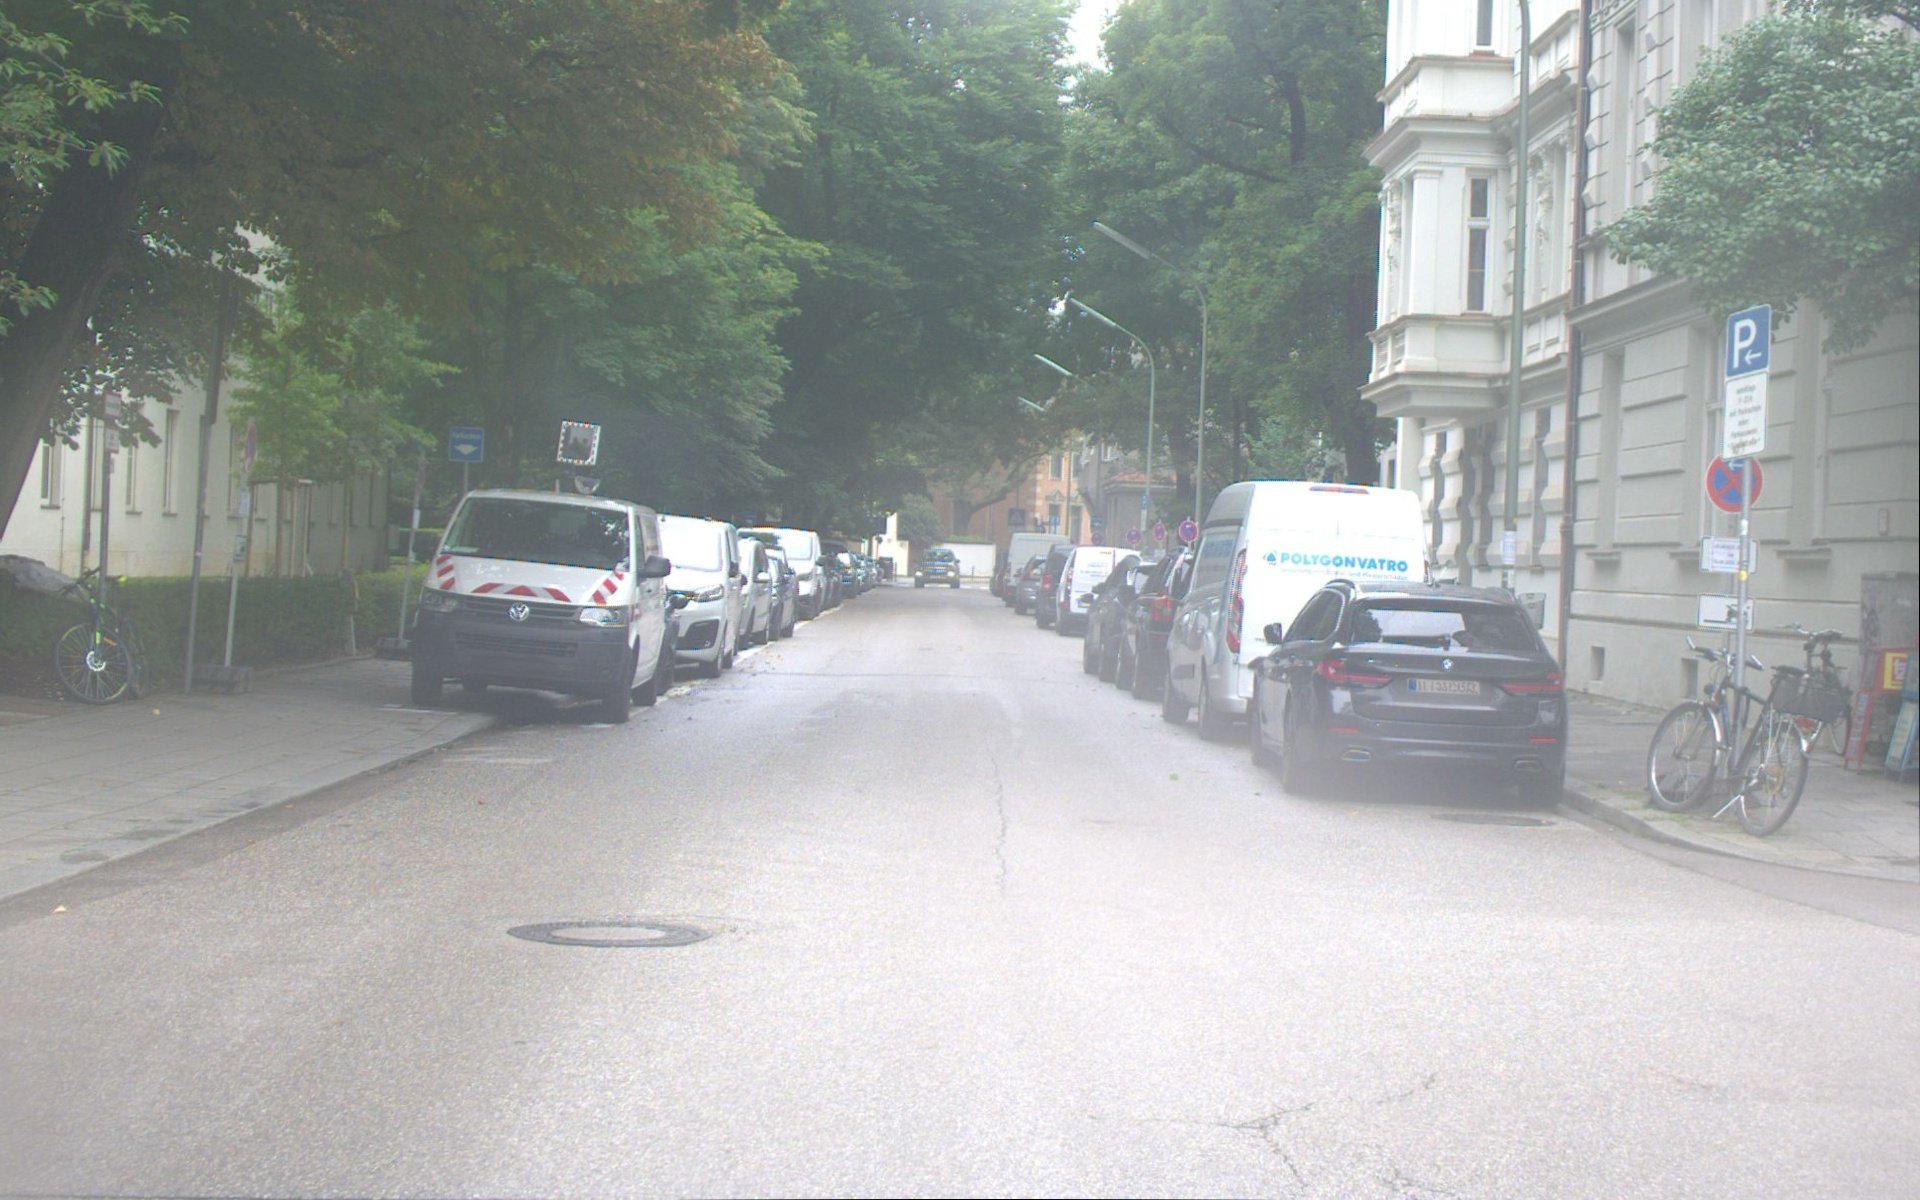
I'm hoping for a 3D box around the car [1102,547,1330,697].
[{"bbox_3d":[2.920,0.225,40.199,2.138,1.624,4.316,1,0,-2],"label":"car"}]

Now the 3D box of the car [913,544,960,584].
[{"bbox_3d":[-1.068,-1.669,158.297,1.993,1.777,4.000,2,1,1],"label":"car"}]

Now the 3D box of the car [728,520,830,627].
[{"bbox_3d":[-3.953,-0.597,75.876,2.002,2.179,4.696,4,1,-2],"label":"car"}]

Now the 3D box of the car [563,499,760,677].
[{"bbox_3d":[-3.661,-0.177,42.871,2.183,1.950,5.167,4,1,-4],"label":"car"}]

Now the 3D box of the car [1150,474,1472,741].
[{"bbox_3d":[3.089,0.045,31.353,2.203,2.201,4.856,1,0,-2],"label":"car"}]

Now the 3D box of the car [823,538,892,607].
[{"bbox_3d":[-3.478,-0.932,115.836,2.047,2.147,4.314,4,1,-4],"label":"car"}]

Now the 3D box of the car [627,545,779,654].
[{"bbox_3d":[-4.012,-0.035,54.281,2.069,1.514,4.237,4,1,-1],"label":"car"}]

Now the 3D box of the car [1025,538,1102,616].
[{"bbox_3d":[2.793,-0.643,93.594,1.993,2.007,4.000,2,1,1],"label":"car"}]

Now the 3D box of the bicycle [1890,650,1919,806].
[{"bbox_3d":[6.759,0.903,23.216,0.430,1.024,1.891,2,2,1],"label":"bicycle"}]

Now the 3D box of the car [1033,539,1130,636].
[{"bbox_3d":[2.599,-0.295,74.405,1.993,1.969,4.000,2,1,1],"label":"car"}]

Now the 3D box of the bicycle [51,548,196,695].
[{"bbox_3d":[-6.648,0.159,27.401,0.633,1.099,1.767,4,0,1],"label":"bicycle"}]

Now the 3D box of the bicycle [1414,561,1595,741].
[{"bbox_3d":[4.870,0.439,30.880,0.707,1.510,2.039,2,1,-18],"label":"bicycle"}]

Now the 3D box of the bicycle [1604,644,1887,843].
[{"bbox_3d":[4.749,0.849,20.958,0.653,1.024,2.203,1,2,-16],"label":"bicycle"}]

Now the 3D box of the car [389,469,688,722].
[{"bbox_3d":[-3.699,-0.075,31.148,2.247,1.950,5.454,4,1,-4],"label":"car"}]

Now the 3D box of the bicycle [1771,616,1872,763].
[{"bbox_3d":[6.698,0.681,26.768,0.546,1.056,1.750,2,1,8],"label":"bicycle"}]

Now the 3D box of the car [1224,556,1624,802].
[{"bbox_3d":[3.157,0.489,24.393,2.272,1.541,4.587,1,0,1],"label":"car"}]
